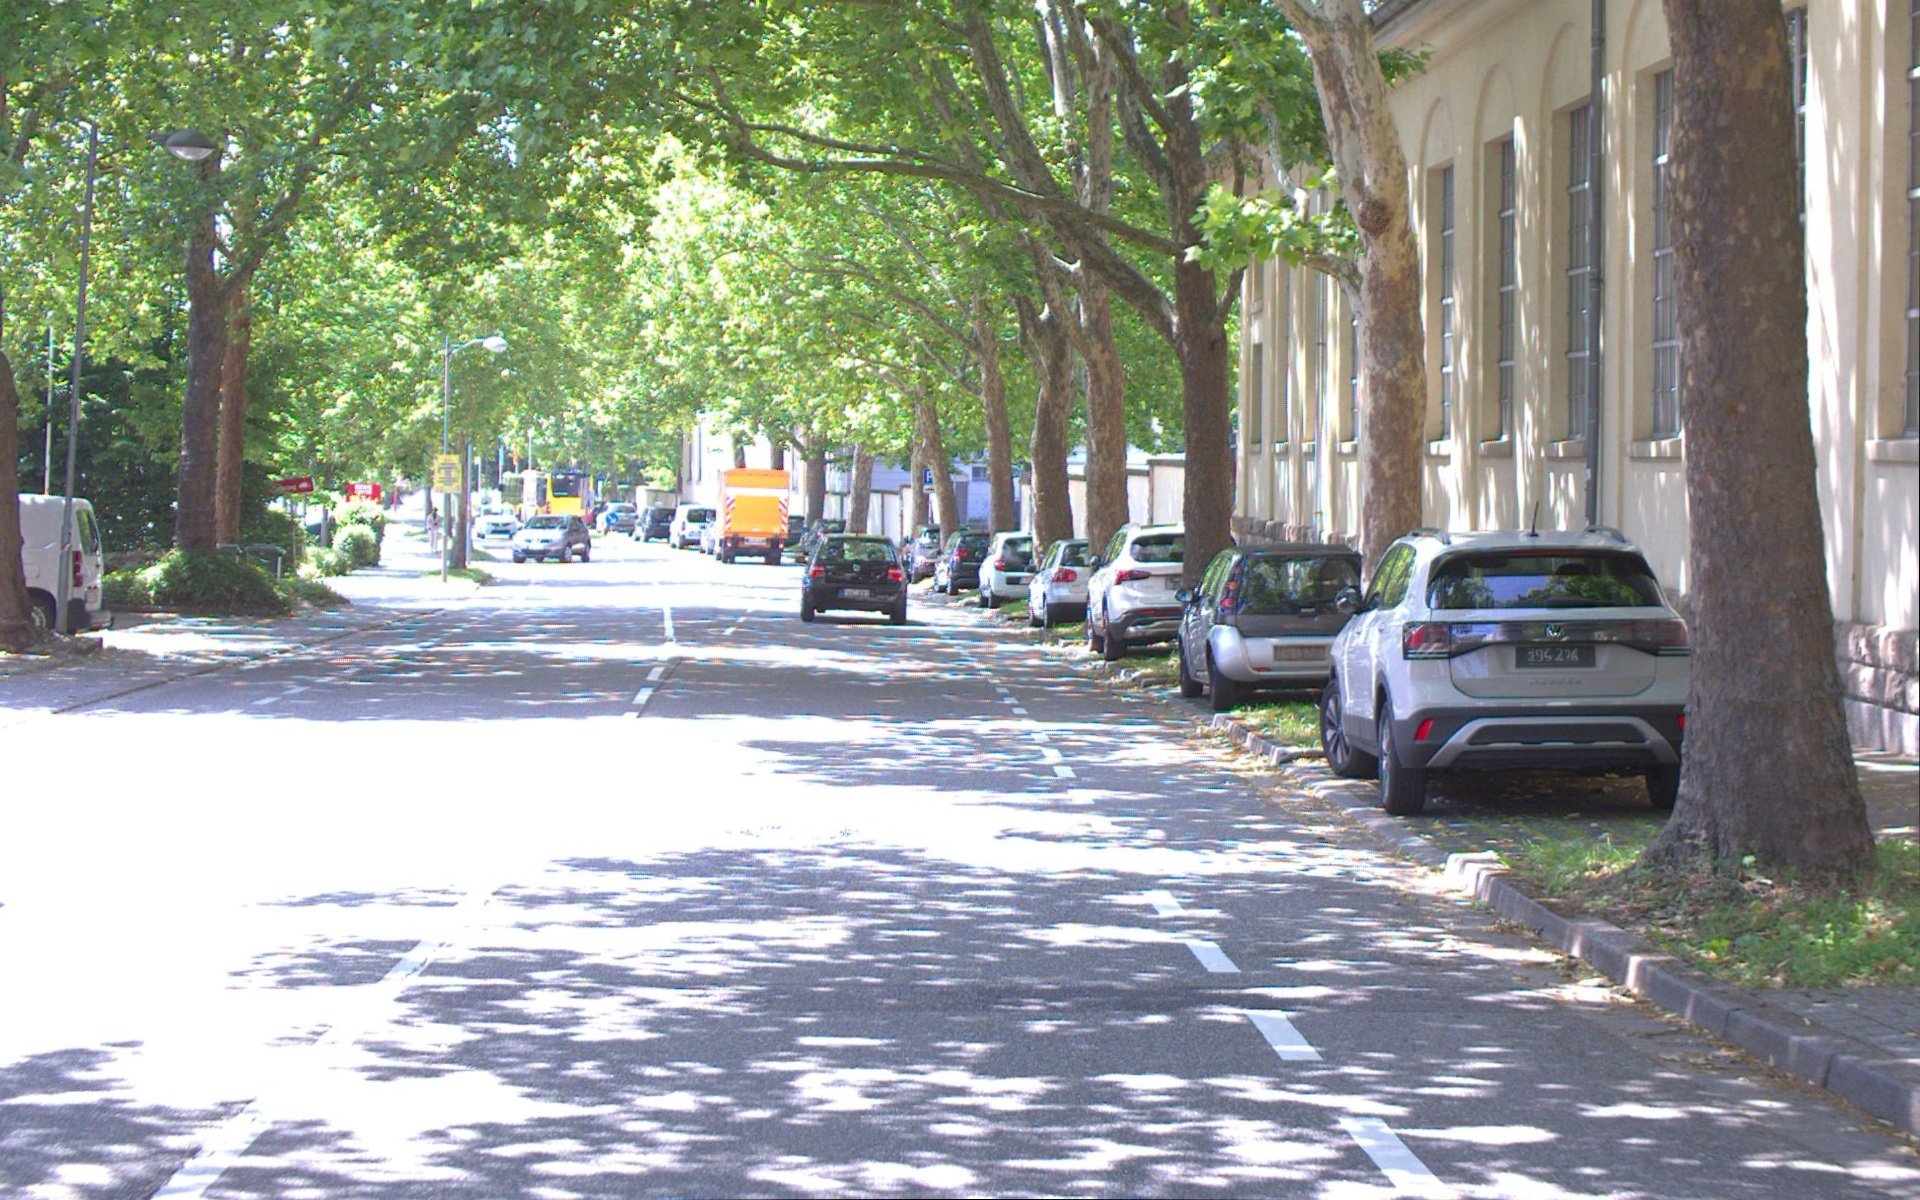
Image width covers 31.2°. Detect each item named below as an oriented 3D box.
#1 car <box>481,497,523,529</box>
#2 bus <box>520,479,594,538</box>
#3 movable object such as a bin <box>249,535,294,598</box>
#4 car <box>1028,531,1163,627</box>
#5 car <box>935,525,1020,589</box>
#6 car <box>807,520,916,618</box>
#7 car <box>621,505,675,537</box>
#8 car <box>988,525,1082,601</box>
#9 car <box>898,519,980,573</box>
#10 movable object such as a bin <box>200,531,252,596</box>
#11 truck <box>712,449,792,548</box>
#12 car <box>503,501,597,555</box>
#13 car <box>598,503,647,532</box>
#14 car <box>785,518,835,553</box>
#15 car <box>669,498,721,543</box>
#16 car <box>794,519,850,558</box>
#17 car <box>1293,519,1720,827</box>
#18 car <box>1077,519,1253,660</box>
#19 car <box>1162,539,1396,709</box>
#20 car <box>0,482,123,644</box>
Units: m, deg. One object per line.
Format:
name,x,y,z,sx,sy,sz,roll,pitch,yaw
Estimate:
car,-20.804,-3.944,156.241,1.710,1.442,4.059,0,1,-5
bus,-22.566,-5.063,191.978,2.663,3.139,11.201,0,1,-14
movable object such as a bin,-11.657,-0.570,58.234,0.623,1.045,0.620,1,1,0
car,2.109,-0.358,54.487,1.766,1.428,3.876,-1,1,-3
car,0.394,-1.044,81.643,1.766,1.461,3.876,-1,1,-3
car,-1.662,-0.541,56.637,1.711,1.442,4.059,0,3,-3
car,-13.747,-3.469,151.384,1.766,1.369,3.731,-1,1,-15
car,1.478,-0.759,69.050,1.577,1.461,3.876,-1,1,-3
car,-0.587,-1.447,91.279,1.766,1.369,3.731,-1,1,-6
movable object such as a bin,-12.409,-0.626,58.122,0.734,1.074,0.701,1,1,-2
truck,-7.036,-3.378,115.648,2.370,3.123,5.770,1,0,-6
car,-13.382,-2.350,112.343,1.994,1.660,3.998,1,0,9
car,-16.212,-3.966,164.953,1.766,1.369,3.731,-1,1,-14
car,-6.089,-2.629,139.500,1.766,1.369,3.731,-1,1,-6
car,-10.568,-3.144,136.933,1.879,1.680,4.001,1,0,-7
car,-5.120,-2.268,126.799,1.766,1.369,3.731,1,1,-7
car,3.120,0.332,20.558,1.741,1.552,4.780,-1,2,0
car,2.557,-0.183,43.926,1.807,1.683,4.752,-1,1,-2
car,2.904,0.169,32.076,1.621,1.435,4.433,-1,1,-2
car,-11.999,-0.506,39.912,4.128,1.798,1.903,2,1,-4
